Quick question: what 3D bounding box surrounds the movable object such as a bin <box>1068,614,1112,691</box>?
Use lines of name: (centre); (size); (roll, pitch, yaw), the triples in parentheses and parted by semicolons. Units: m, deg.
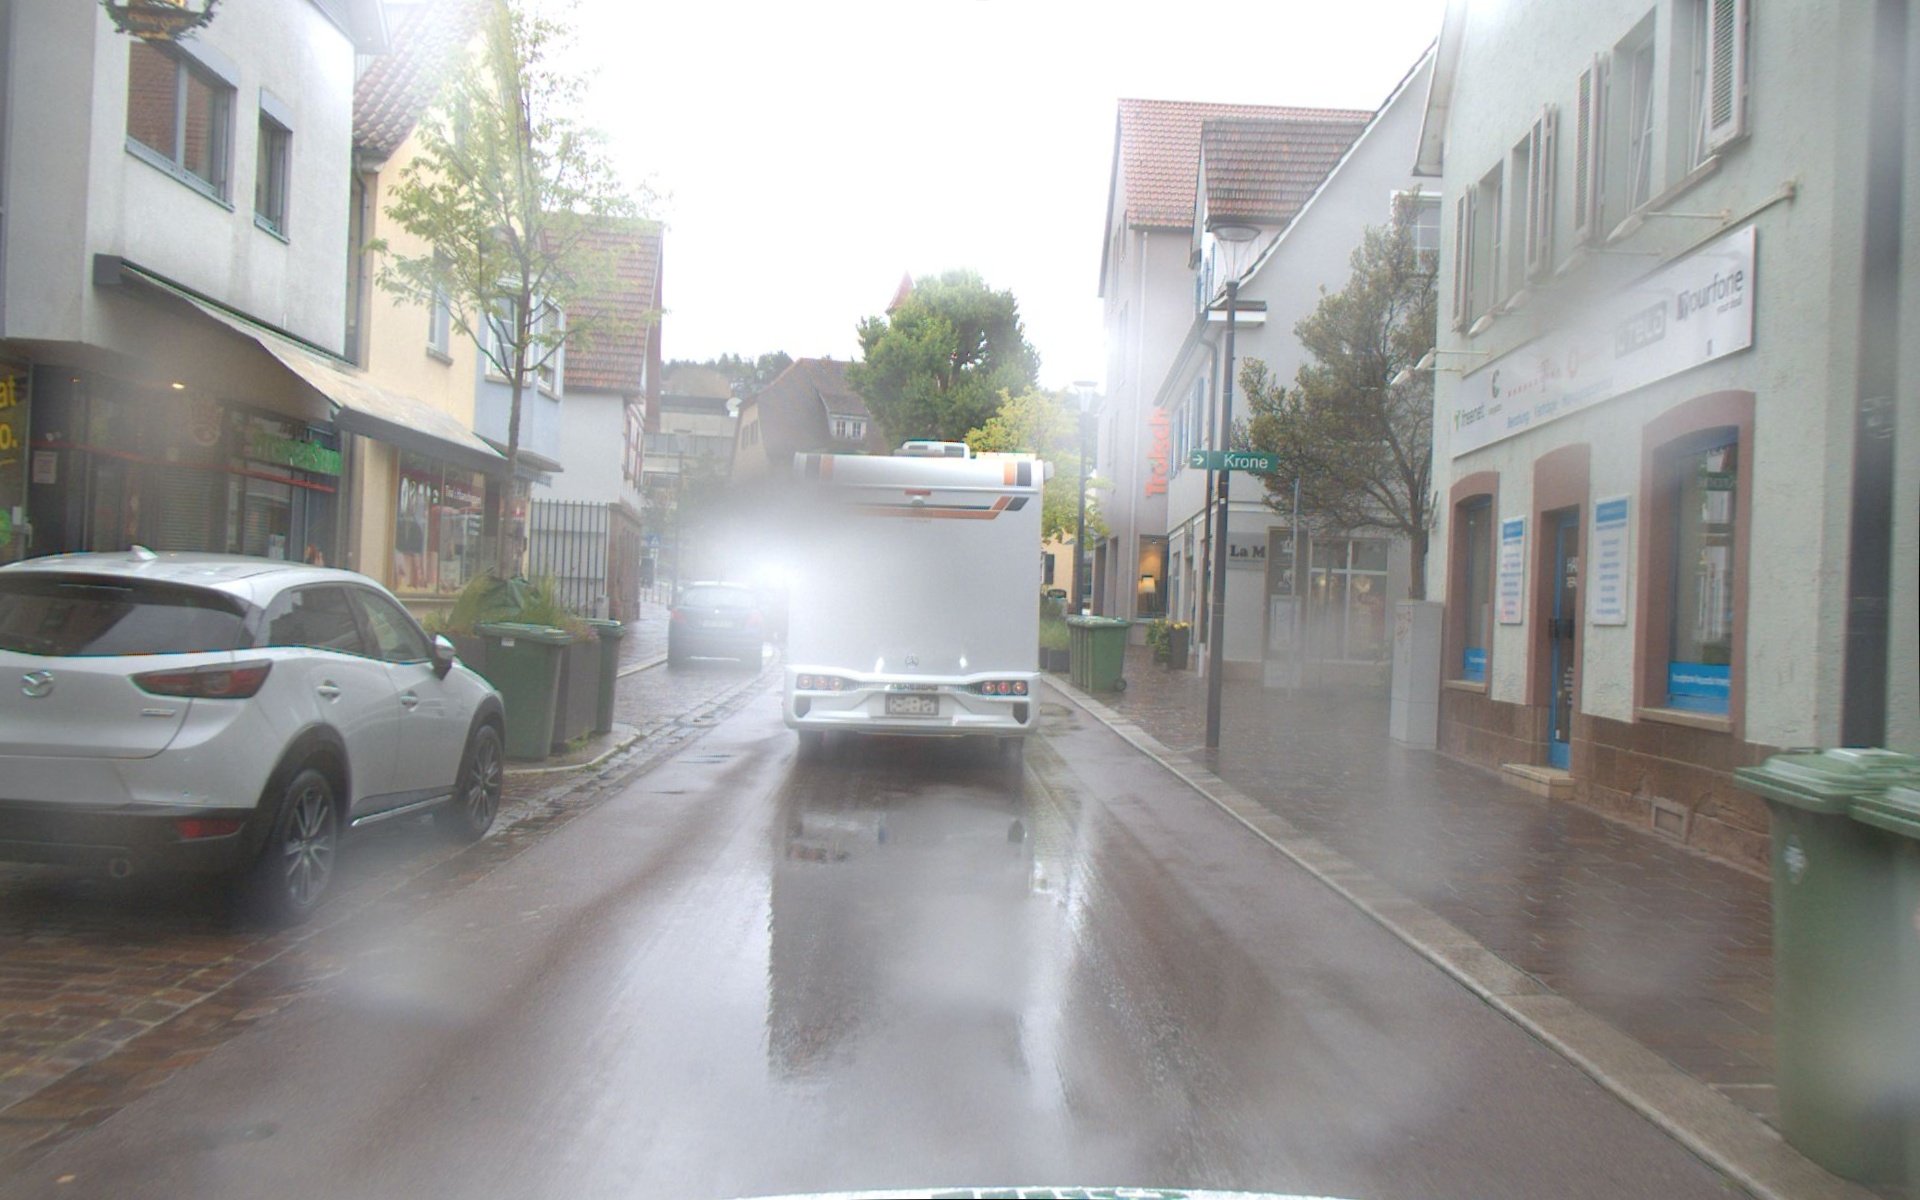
movable object such as a bin: (2.185, 0.882, 27.871); (0.664, 1.272, 0.564); (1, -1, -2)

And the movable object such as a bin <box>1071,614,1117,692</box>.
movable object such as a bin: (2.208, 0.871, 27.297); (0.664, 1.254, 0.564); (1, -1, -2)

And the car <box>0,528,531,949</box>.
car: (-3.602, 0.553, 8.362); (1.790, 1.594, 3.999); (1, -1, 0)

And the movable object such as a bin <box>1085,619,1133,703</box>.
movable object such as a bin: (2.300, 0.941, 25.592); (0.645, 1.260, 0.621); (1, -1, -2)

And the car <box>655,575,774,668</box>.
car: (-4.410, 0.354, 30.176); (1.955, 1.497, 3.994); (3, 0, -7)

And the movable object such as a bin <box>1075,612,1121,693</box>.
movable object such as a bin: (2.227, 0.850, 26.733); (0.664, 1.278, 0.542); (1, -1, -2)

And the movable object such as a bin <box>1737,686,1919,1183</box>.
movable object such as a bin: (2.588, 0.863, 4.456); (0.704, 1.222, 0.578); (1, -1, 0)

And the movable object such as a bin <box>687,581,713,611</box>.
movable object such as a bin: (-9.473, -0.134, 60.232); (0.805, 1.069, 0.696); (2, -1, -17)

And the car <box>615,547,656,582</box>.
car: (-20.387, -2.204, 103.889); (1.964, 2.049, 3.977); (2, -1, -19)

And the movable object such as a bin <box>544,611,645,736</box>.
movable object such as a bin: (-3.523, 0.707, 16.007); (0.799, 1.125, 0.609); (5, -1, -6)

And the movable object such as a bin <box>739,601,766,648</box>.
movable object such as a bin: (-5.161, 0.608, 41.111); (0.618, 1.133, 0.732); (2, -1, -10)

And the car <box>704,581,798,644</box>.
car: (-5.725, 0.304, 45.006); (1.961, 1.520, 3.984); (3, 0, -15)

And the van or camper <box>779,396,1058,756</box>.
van or camper: (-0.553, -0.155, 17.128); (2.280, 2.970, 6.387); (2, -1, -4)

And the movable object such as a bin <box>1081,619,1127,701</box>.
movable object such as a bin: (2.274, 0.943, 26.178); (0.645, 1.267, 0.542); (1, -1, -2)

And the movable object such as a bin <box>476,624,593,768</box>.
movable object such as a bin: (-3.442, 0.765, 13.429); (0.799, 1.125, 0.609); (2, -1, -6)

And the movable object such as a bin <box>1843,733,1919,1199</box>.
movable object such as a bin: (2.570, 0.951, 3.860); (0.704, 1.222, 0.573); (1, -1, 0)
